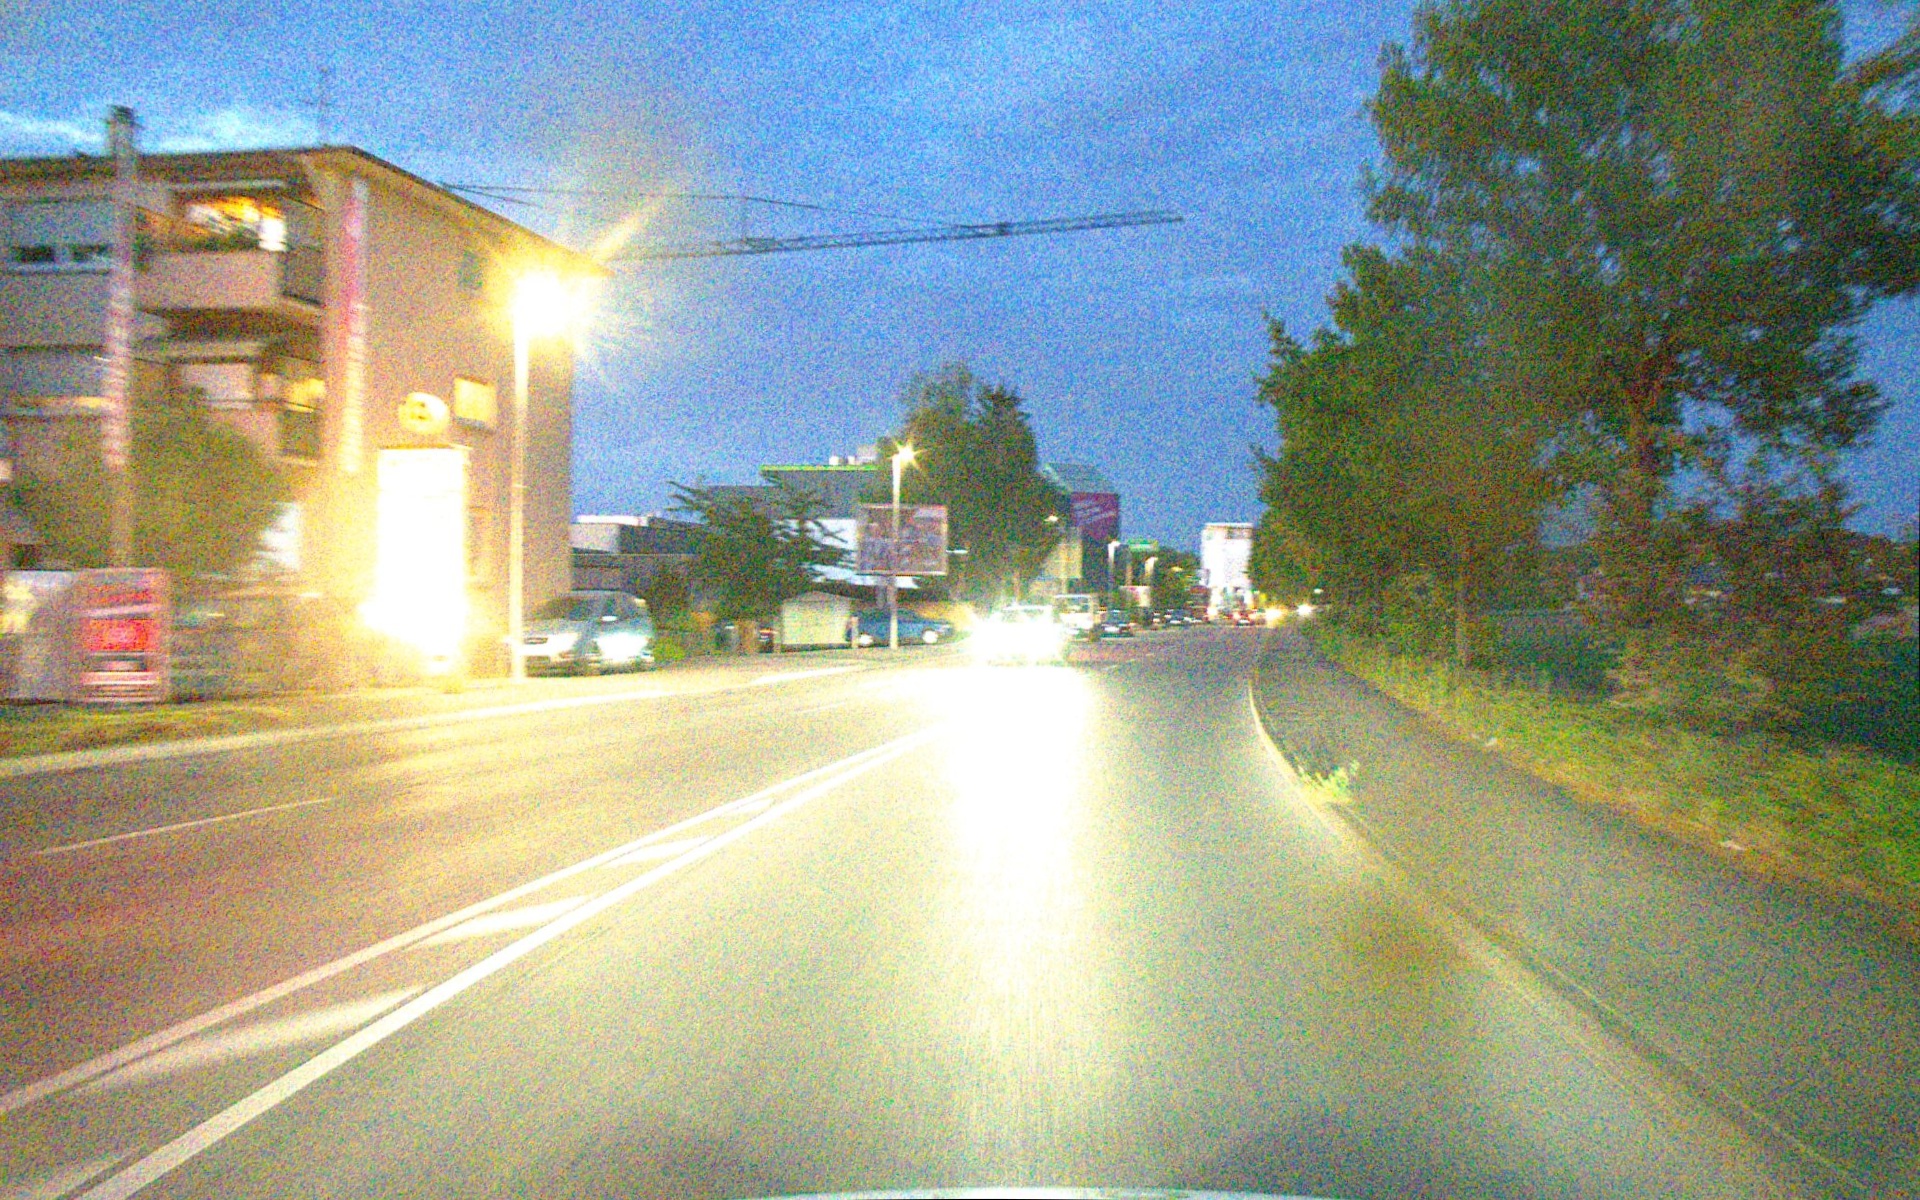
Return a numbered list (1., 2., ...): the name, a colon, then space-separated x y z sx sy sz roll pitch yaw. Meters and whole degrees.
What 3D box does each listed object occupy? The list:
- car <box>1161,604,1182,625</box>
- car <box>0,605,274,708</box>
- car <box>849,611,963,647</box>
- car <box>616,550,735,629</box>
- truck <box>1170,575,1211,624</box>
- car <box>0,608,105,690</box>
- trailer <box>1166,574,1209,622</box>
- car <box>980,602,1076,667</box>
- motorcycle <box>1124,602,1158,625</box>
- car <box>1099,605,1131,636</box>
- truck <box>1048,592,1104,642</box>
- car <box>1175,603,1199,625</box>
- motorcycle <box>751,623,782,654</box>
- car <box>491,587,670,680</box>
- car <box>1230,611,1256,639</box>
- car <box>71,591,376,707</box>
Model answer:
1. car: 18.167 1.284 142.111 1.688 1.769 3.810 0 -1 6
2. car: -11.932 0.760 23.762 1.515 1.334 3.693 1 0 28
3. car: -2.103 1.133 64.835 4.255 1.383 1.644 0 -1 8
4. car: -8.037 -0.330 47.097 1.951 2.048 4.004 3 2 11
5. truck: 24.995 -0.139 179.649 3.761 4.975 6.357 2 2 3
6. car: -14.479 0.701 24.192 1.515 1.151 3.209 1 0 27
7. trailer: 25.302 -0.304 184.704 3.760 4.975 10.815 2 2 3
8. car: 1.874 0.885 44.258 1.718 1.635 4.456 -1 0 13
9. motorcycle: 17.003 1.294 155.246 1.297 2.048 3.982 3 2 38
10. car: 8.451 1.109 90.068 1.681 1.646 3.841 0 0 6
11. truck: 5.372 0.758 75.867 2.200 2.167 5.984 -1 -1 7
12. car: 21.148 1.327 154.303 1.951 1.930 4.003 -1 1 5
13. motorcycle: -7.669 1.532 65.631 0.965 1.164 1.849 1 0 1
14. car: -7.265 0.627 32.118 1.718 1.635 4.456 1 0 11
15. car: 23.019 2.042 134.728 1.951 2.048 4.004 -2 1 9
16. car: -10.052 0.631 22.833 1.515 1.445 3.694 1 0 28
